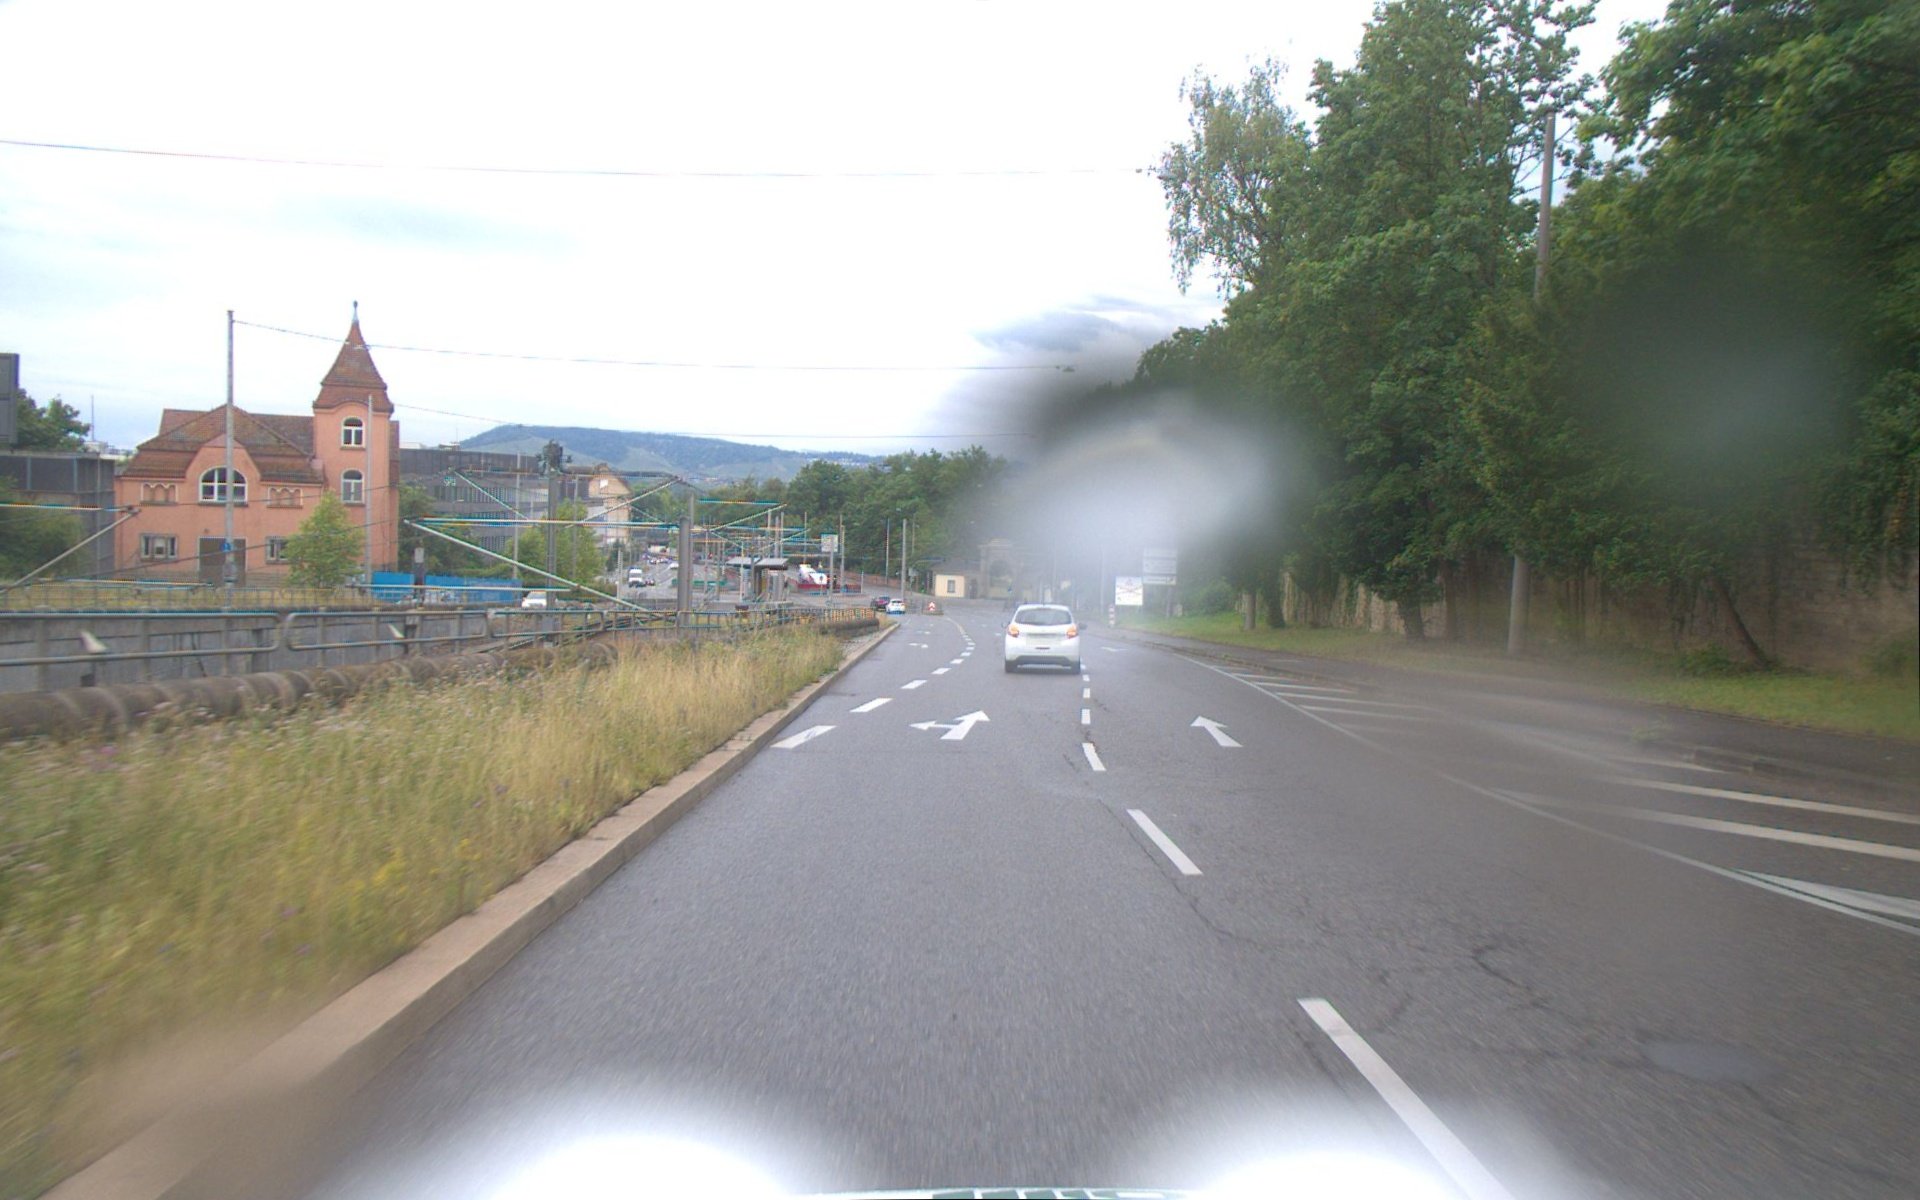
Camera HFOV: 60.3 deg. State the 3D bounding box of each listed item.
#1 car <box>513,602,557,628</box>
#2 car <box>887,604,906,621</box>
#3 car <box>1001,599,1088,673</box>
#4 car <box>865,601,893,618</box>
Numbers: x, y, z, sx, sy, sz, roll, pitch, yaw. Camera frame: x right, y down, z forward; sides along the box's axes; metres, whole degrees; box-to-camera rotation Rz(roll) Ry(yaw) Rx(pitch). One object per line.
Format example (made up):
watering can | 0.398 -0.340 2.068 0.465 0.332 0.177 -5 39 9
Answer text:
car | -23.969 0.834 93.369 1.523 1.314 3.559 2 0 0
car | -6.547 1.288 171.611 1.785 1.634 4.000 -1 0 0
car | 1.905 0.764 37.020 1.829 1.537 3.901 0 0 3
car | -8.904 1.042 181.067 1.964 1.736 3.977 1 0 -19
